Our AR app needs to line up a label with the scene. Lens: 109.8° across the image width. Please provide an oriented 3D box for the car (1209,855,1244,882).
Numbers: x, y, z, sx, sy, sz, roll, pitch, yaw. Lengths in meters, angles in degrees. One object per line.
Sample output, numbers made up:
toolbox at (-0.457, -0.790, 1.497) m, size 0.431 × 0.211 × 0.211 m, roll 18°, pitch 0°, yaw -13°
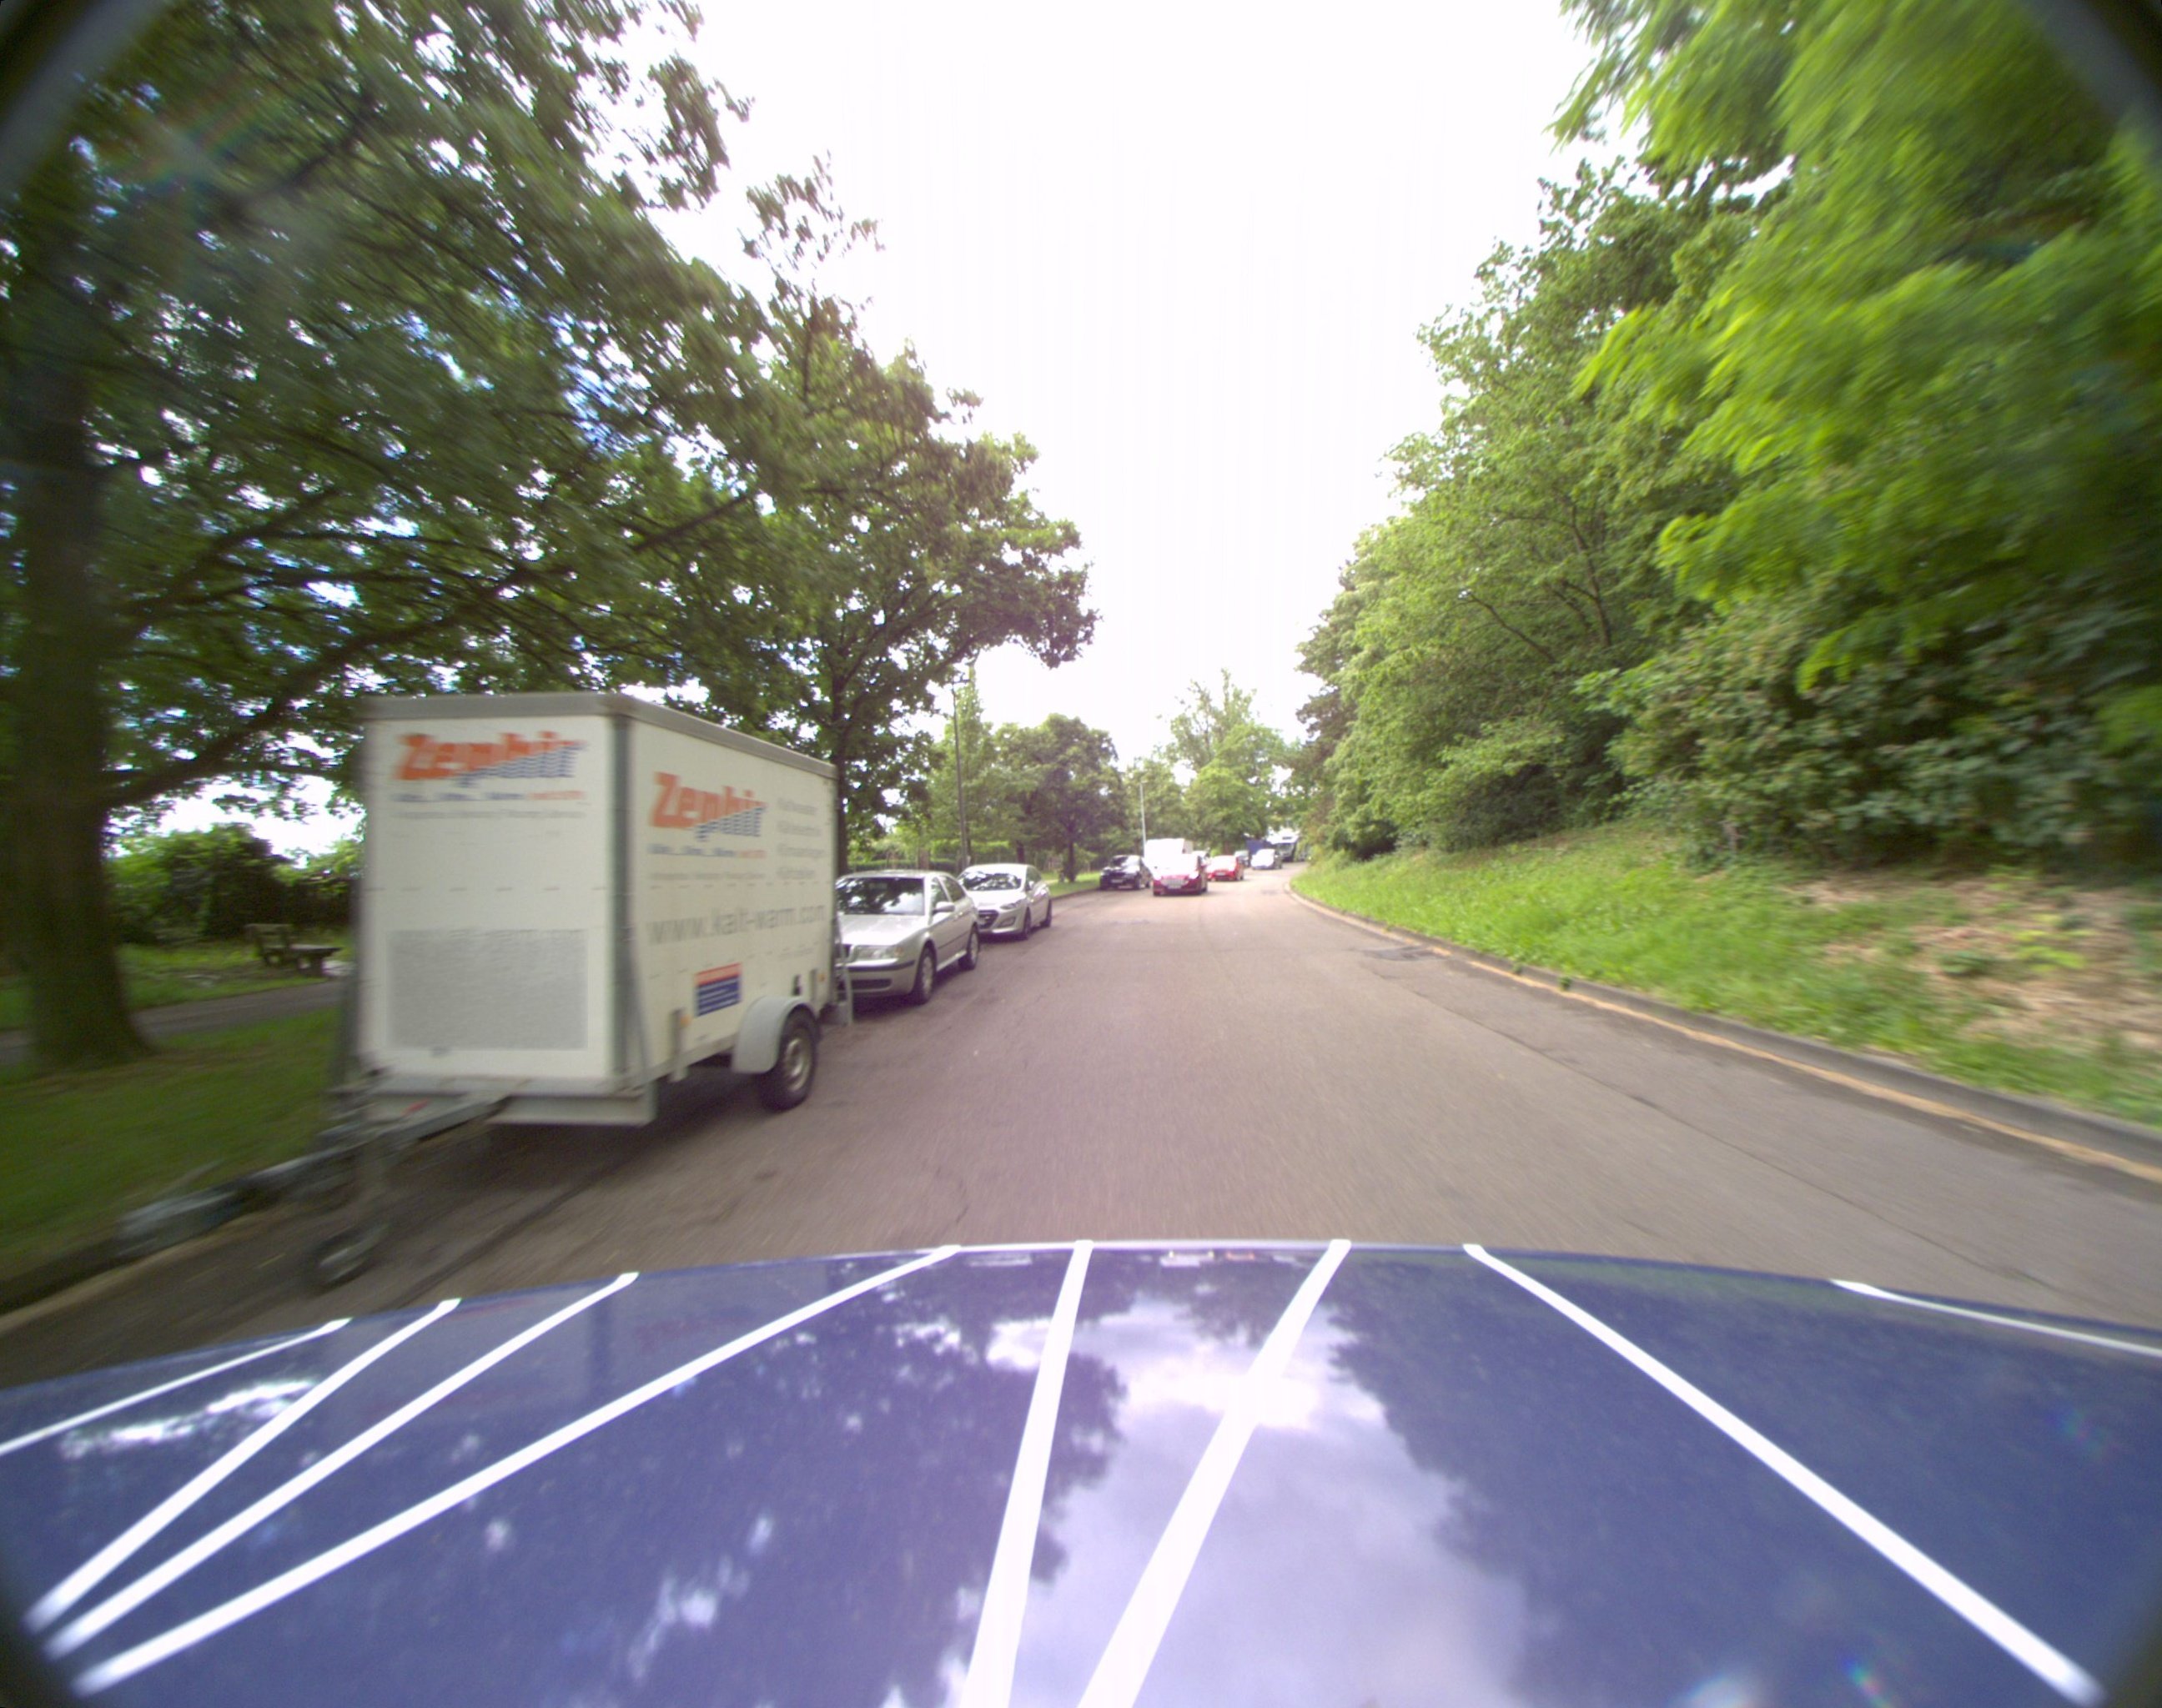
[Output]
car at (8.464, 0.800, 44.182) m, size 1.865 × 1.440 × 4.179 m, roll -1°, pitch 0°, yaw 11°

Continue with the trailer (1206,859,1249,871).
trailer at (12.160, 0.854, 62.517) m, size 2.106 × 0.647 × 6.410 m, roll -3°, pitch 0°, yaw 23°

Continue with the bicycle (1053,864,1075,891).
bicycle at (-0.896, 1.219, 39.724) m, size 0.535 × 1.209 × 2.186 m, roll -3°, pitch 2°, yaw 14°

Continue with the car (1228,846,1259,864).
car at (14.547, 0.116, 68.045) m, size 1.730 × 1.513 × 3.411 m, roll -2°, pitch -1°, yaw 29°

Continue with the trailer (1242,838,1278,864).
trailer at (17.034, -0.230, 72.143) m, size 2.107 × 2.348 × 4.711 m, roll 0°, pitch 0°, yaw 30°

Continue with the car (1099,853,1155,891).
car at (2.277, 0.832, 36.445) m, size 1.851 × 1.633 × 4.535 m, roll -2°, pitch 0°, yaw 14°

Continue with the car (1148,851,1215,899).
car at (4.170, 0.793, 30.848) m, size 1.996 × 1.619 × 4.630 m, roll -3°, pitch 0°, yaw 15°

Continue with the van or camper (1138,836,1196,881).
van or camper at (5.334, 0.204, 46.206) m, size 2.164 × 2.521 × 6.039 m, roll -3°, pitch 1°, yaw 19°

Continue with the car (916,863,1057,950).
car at (-1.789, 0.979, 15.776) m, size 1.906 × 1.467 × 4.061 m, roll -3°, pitch -1°, yaw 7°

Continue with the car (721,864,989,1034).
car at (-2.486, 0.958, 9.706) m, size 1.745 × 1.516 × 4.636 m, roll -1°, pitch 1°, yaw 4°

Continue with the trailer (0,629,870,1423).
trailer at (-2.732, 0.538, 4.283) m, size 1.764 × 2.413 × 3.887 m, roll -1°, pitch 0°, yaw 3°

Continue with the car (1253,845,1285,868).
car at (15.312, 0.202, 61.839) m, size 1.919 × 1.672 × 4.005 m, roll -1°, pitch 2°, yaw 23°

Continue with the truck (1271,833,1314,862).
truck at (22.749, -0.746, 81.525) m, size 2.305 × 2.916 × 7.046 m, roll -1°, pitch 1°, yaw 33°

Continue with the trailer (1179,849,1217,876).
trailer at (8.516, 0.581, 54.858) m, size 1.774 × 1.721 × 4.656 m, roll 0°, pitch 2°, yaw 21°
